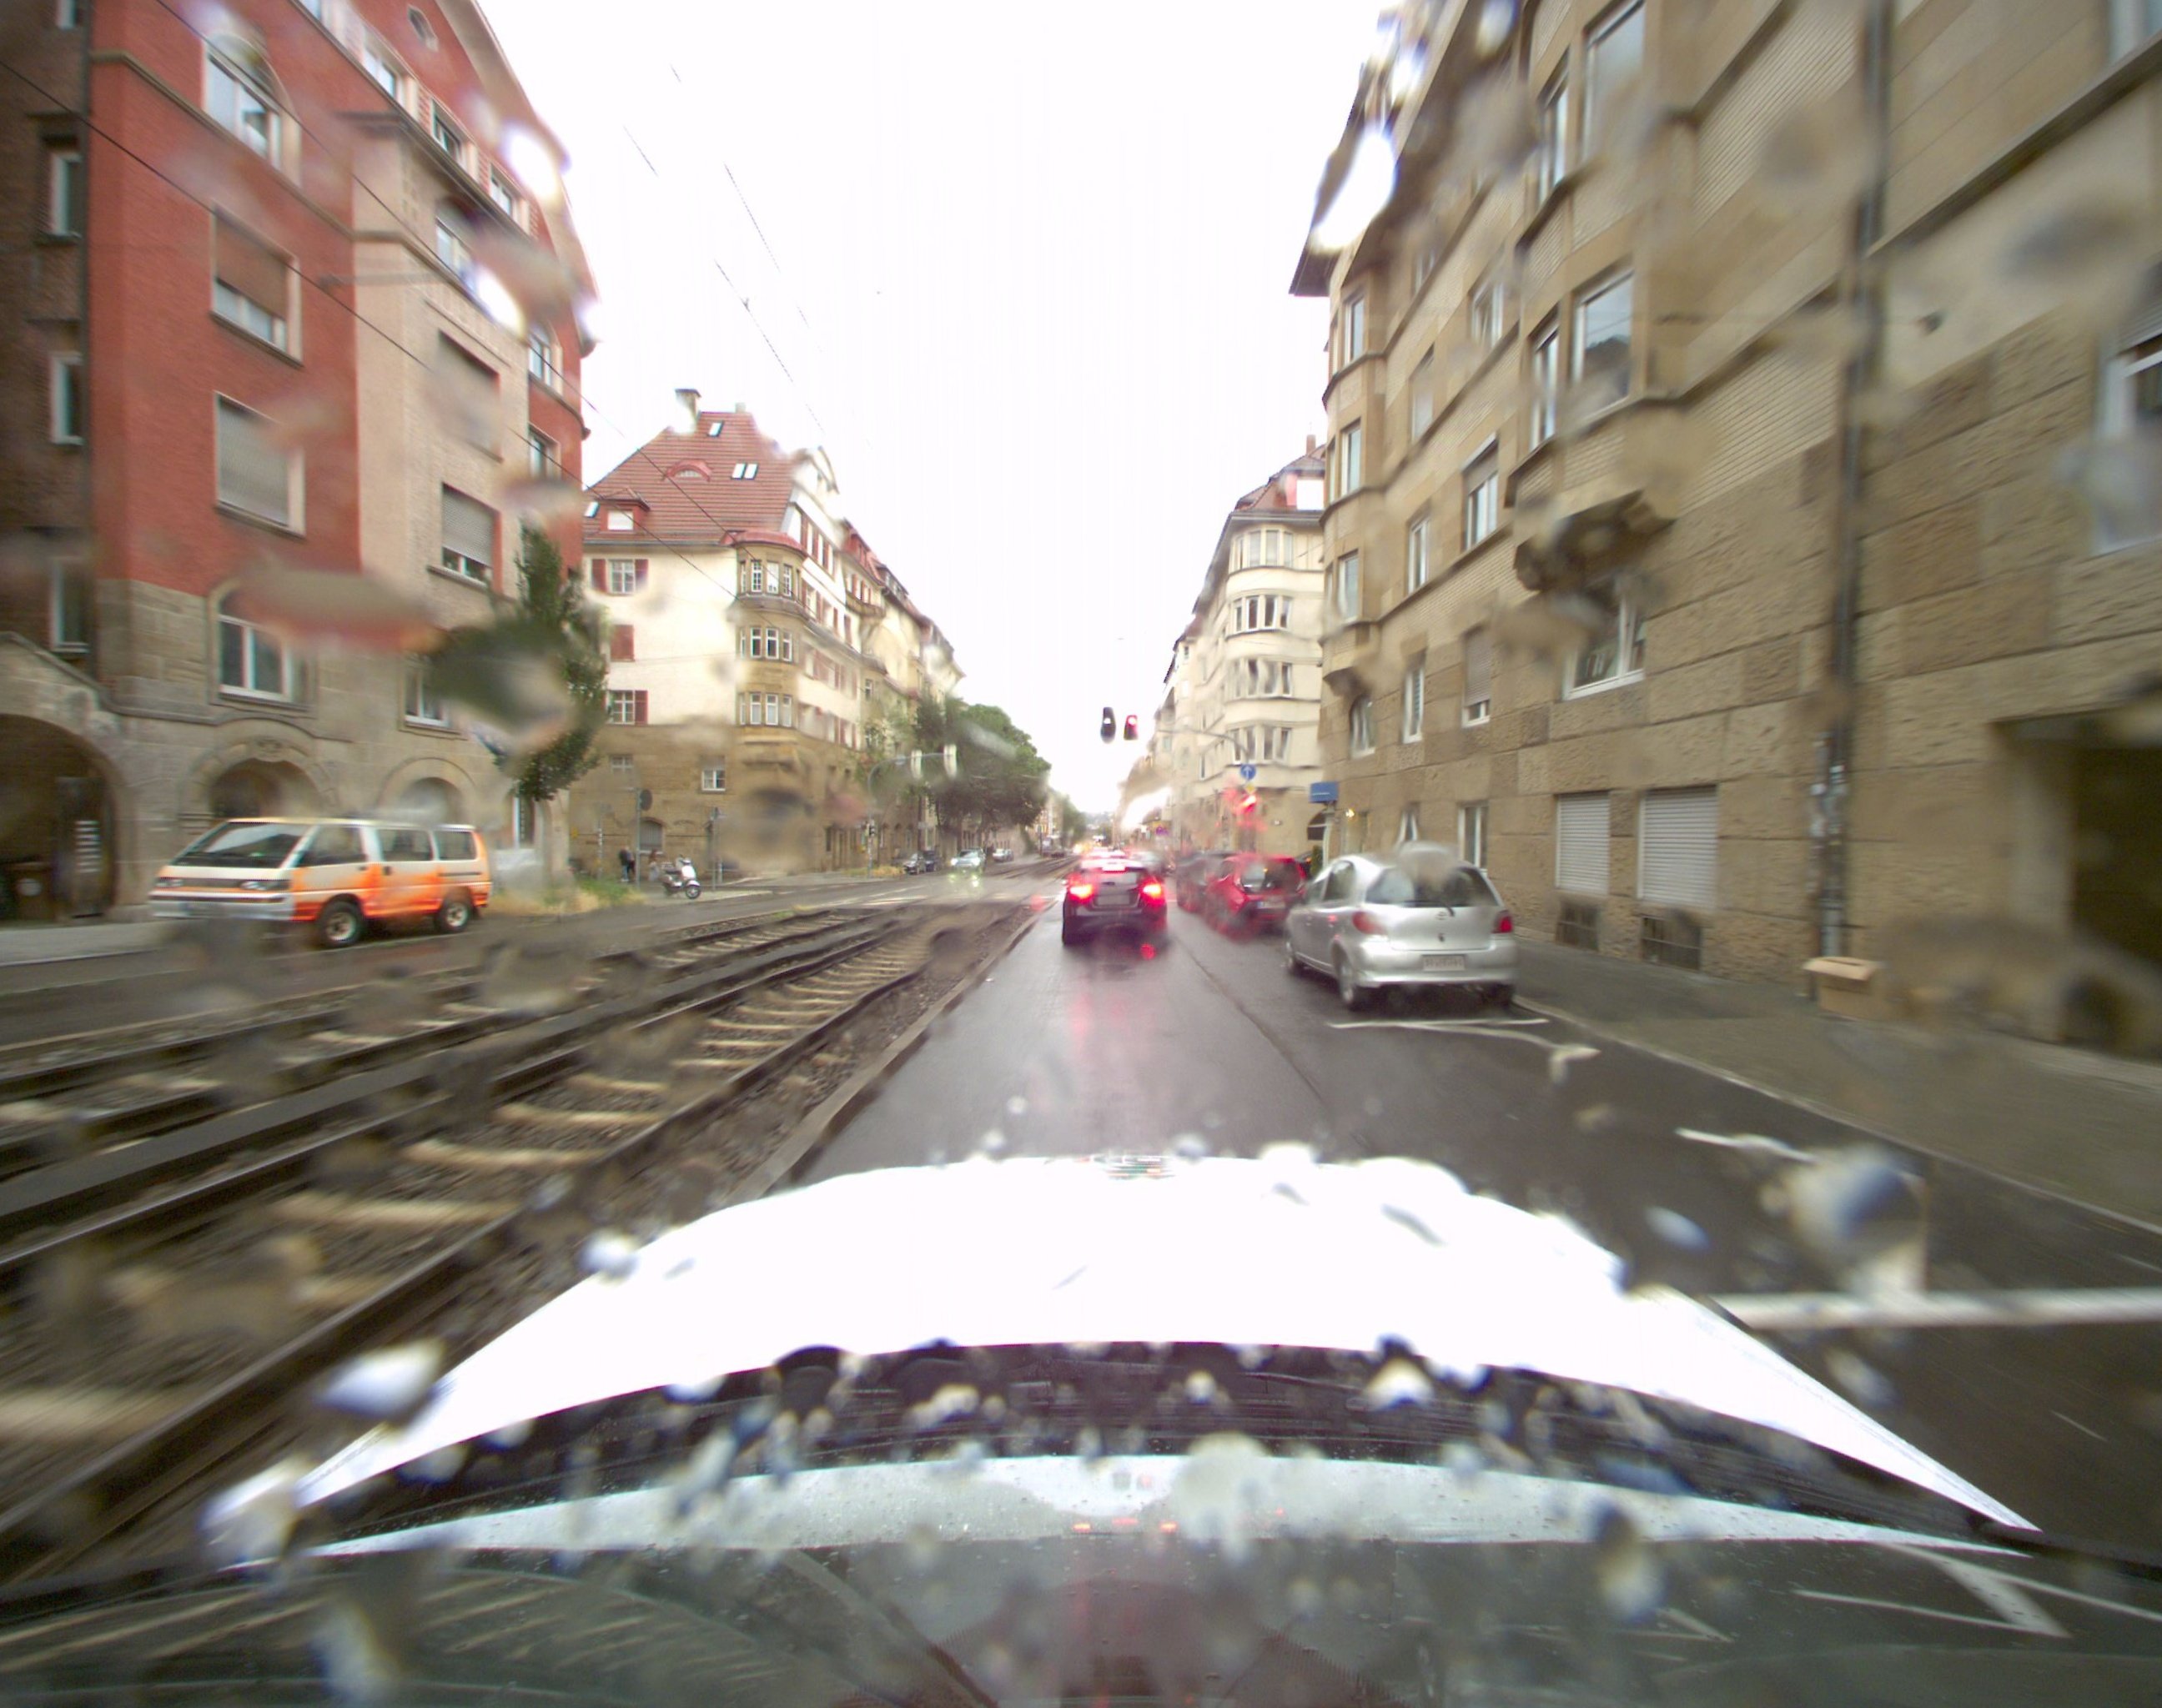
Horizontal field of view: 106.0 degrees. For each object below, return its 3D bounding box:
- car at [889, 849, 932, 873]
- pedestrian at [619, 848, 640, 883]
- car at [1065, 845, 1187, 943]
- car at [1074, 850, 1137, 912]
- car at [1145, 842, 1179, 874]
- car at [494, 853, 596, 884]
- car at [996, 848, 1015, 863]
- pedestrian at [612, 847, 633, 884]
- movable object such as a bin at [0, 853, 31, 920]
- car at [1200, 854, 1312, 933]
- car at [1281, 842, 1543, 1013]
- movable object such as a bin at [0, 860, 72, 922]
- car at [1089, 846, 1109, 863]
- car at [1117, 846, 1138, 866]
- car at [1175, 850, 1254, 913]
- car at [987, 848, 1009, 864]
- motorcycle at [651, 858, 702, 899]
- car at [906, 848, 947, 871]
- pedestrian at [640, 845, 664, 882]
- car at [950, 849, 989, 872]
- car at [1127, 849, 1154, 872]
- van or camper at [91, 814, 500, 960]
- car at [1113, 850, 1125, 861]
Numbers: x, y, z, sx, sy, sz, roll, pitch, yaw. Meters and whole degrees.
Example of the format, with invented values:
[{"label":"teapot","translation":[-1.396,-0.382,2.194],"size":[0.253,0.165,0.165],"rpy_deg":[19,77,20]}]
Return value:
[{"label":"car","translation":[-10.842,0.438,52.009],"size":[1.765,1.464,4.001],"rpy_deg":[0,-1,2]},{"label":"pedestrian","translation":[-22.250,0.565,40.139],"size":[0.605,1.733,0.643],"rpy_deg":[1,0,2]},{"label":"car","translation":[0.736,0.657,14.839],"size":[1.939,1.565,3.642],"rpy_deg":[0,-1,0]},{"label":"car","translation":[0.679,0.667,22.127],"size":[1.530,1.510,4.002],"rpy_deg":[1,0,2]},{"label":"car","translation":[5.252,0.297,53.141],"size":[1.891,2.028,4.177],"rpy_deg":[0,-1,2]},{"label":"car","translation":[-24.164,0.625,36.767],"size":[3.605,1.311,1.563],"rpy_deg":[1,0,4]},{"label":"car","translation":[-9.565,0.189,103.600],"size":[1.925,1.728,4.188],"rpy_deg":[1,0,2]},{"label":"pedestrian","translation":[-22.182,0.557,39.445],"size":[0.605,1.733,0.643],"rpy_deg":[1,0,2]},{"label":"movable object such as a bin","translation":[-17.528,0.524,13.106],"size":[0.572,1.061,0.520],"rpy_deg":[1,0,1]},{"label":"car","translation":[3.424,0.714,16.442],"size":[1.597,1.419,3.148],"rpy_deg":[1,0,0]},{"label":"car","translation":[3.440,0.662,9.151],"size":[1.631,1.543,3.467],"rpy_deg":[1,0,2]},{"label":"movable object such as a bin","translation":[-16.924,0.589,13.161],"size":[0.572,0.955,0.520],"rpy_deg":[1,0,1]},{"label":"car","translation":[1.881,0.014,82.596],"size":[1.914,1.655,4.003],"rpy_deg":[1,0,2]},{"label":"car","translation":[4.372,0.227,76.972],"size":[1.846,1.797,3.813],"rpy_deg":[0,-1,2]},{"label":"car","translation":[3.478,0.670,21.803],"size":[1.543,1.508,4.002],"rpy_deg":[1,0,2]},{"label":"car","translation":[-9.745,0.216,95.535],"size":[1.986,1.794,4.002],"rpy_deg":[1,0,2]},{"label":"motorcycle","translation":[-11.799,0.702,23.750],"size":[1.423,1.134,0.624],"rpy_deg":[1,-1,31]},{"label":"car","translation":[-10.844,0.392,57.335],"size":[1.986,1.517,4.002],"rpy_deg":[1,0,2]},{"label":"pedestrian","translation":[-20.278,0.459,38.533],"size":[0.605,1.733,0.865],"rpy_deg":[1,0,2]},{"label":"car","translation":[-7.771,0.443,57.033],"size":[1.786,1.548,4.007],"rpy_deg":[-1,0,6]},{"label":"car","translation":[4.756,0.524,65.593],"size":[1.764,1.776,3.996],"rpy_deg":[0,-1,-2]},{"label":"van or camper","translation":[-12.007,0.440,13.059],"size":[1.987,1.901,4.698],"rpy_deg":[-1,0,0]},{"label":"car","translation":[6.094,0.223,131.995],"size":[1.902,1.706,4.002],"rpy_deg":[1,0,2]}]
